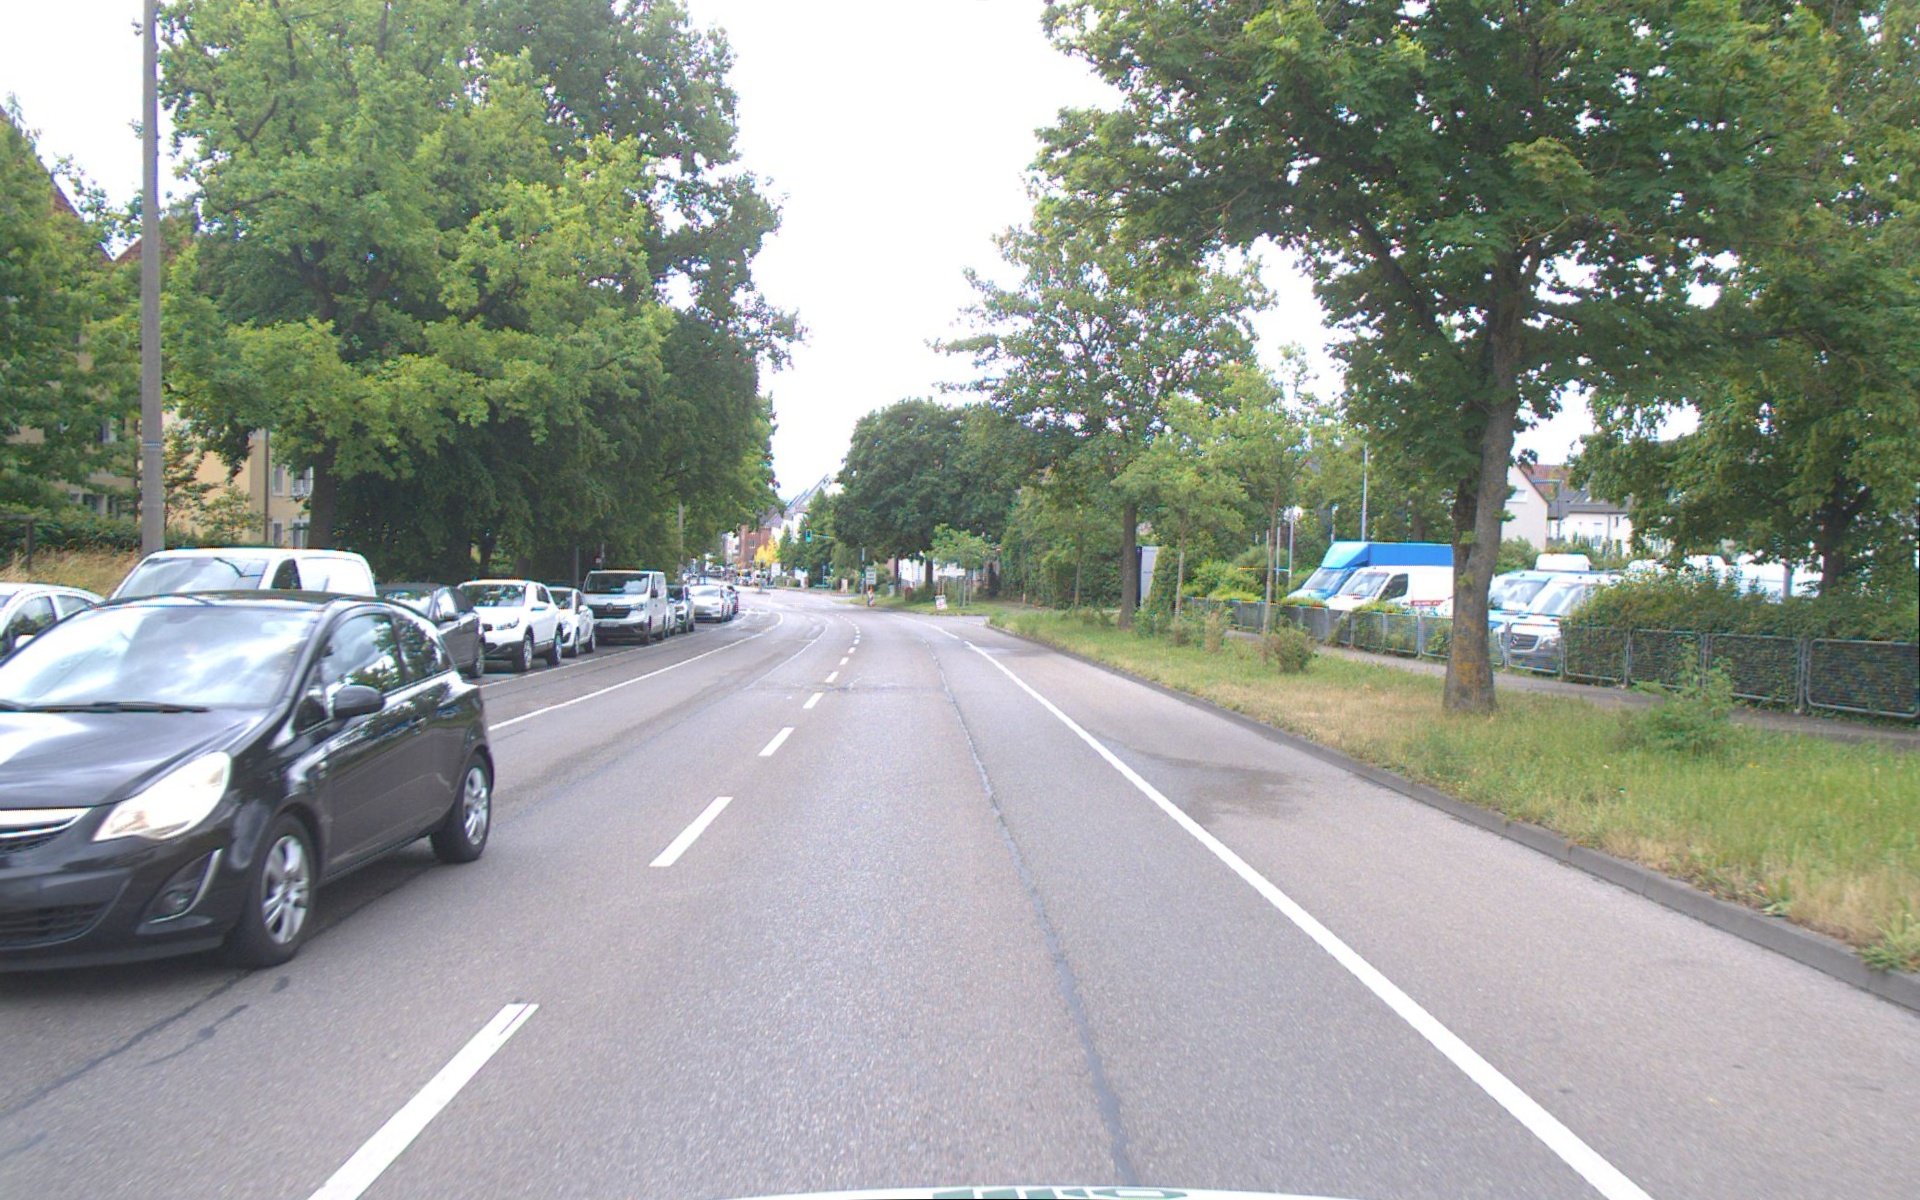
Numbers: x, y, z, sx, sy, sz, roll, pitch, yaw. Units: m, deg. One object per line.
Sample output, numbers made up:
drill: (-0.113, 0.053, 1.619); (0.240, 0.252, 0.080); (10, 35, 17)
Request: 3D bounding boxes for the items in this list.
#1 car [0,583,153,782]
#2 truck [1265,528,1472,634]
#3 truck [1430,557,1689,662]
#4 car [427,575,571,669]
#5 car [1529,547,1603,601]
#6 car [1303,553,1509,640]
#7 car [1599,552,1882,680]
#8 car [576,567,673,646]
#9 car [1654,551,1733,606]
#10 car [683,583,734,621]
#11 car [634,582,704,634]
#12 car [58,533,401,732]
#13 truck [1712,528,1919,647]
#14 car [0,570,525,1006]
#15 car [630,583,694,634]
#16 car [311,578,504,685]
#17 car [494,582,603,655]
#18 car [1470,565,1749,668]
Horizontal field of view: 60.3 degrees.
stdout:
car: (-8.144, 0.618, 13.319); (1.603, 1.458, 3.946); (2, 1, -5)
truck: (14.340, -0.647, 57.982); (7.076, 3.538, 2.597); (0, 1, -27)
truck: (14.036, 0.240, 38.611); (6.166, 2.251, 2.225); (2, 0, -30)
car: (-8.402, 0.368, 30.479); (1.640, 1.592, 4.279); (0, 0, -3)
car: (32.023, -1.410, 87.275); (2.218, 2.723, 5.429); (2, 3, 37)
car: (13.498, -0.092, 50.014); (5.935, 2.408, 2.343); (2, 0, -26)
car: (14.688, 0.314, 31.076); (5.182, 2.226, 2.054); (2, 0, -27)
car: (-9.044, 0.159, 44.962); (1.829, 1.998, 5.124); (1, 0, -3)
car: (38.534, -1.183, 86.817); (2.223, 2.723, 5.417); (2, 3, 42)
car: (-10.888, 0.086, 71.793); (1.732, 1.600, 4.756); (0, 0, -3)
car: (-9.673, 0.243, 55.191); (1.731, 1.662, 4.156); (1, 0, -2)
car: (-8.246, 0.290, 19.283); (1.732, 1.964, 5.154); (2, 1, -1)
truck: (28.774, -0.379, 53.560); (2.804, 3.519, 9.509); (2, 0, -13)
car: (-3.349, 0.643, 7.683); (1.604, 1.493, 4.000); (0, 0, 0)
car: (-9.095, 0.244, 50.648); (1.550, 1.507, 3.716); (1, 0, -5)
car: (-8.448, 0.444, 25.640); (1.639, 1.514, 4.044); (-1, 0, 0)
car: (-8.987, 0.376, 36.415); (1.629, 1.505, 4.087); (1, 0, -4)
car: (13.745, 0.358, 34.947); (5.731, 1.991, 2.056); (2, 0, -24)
